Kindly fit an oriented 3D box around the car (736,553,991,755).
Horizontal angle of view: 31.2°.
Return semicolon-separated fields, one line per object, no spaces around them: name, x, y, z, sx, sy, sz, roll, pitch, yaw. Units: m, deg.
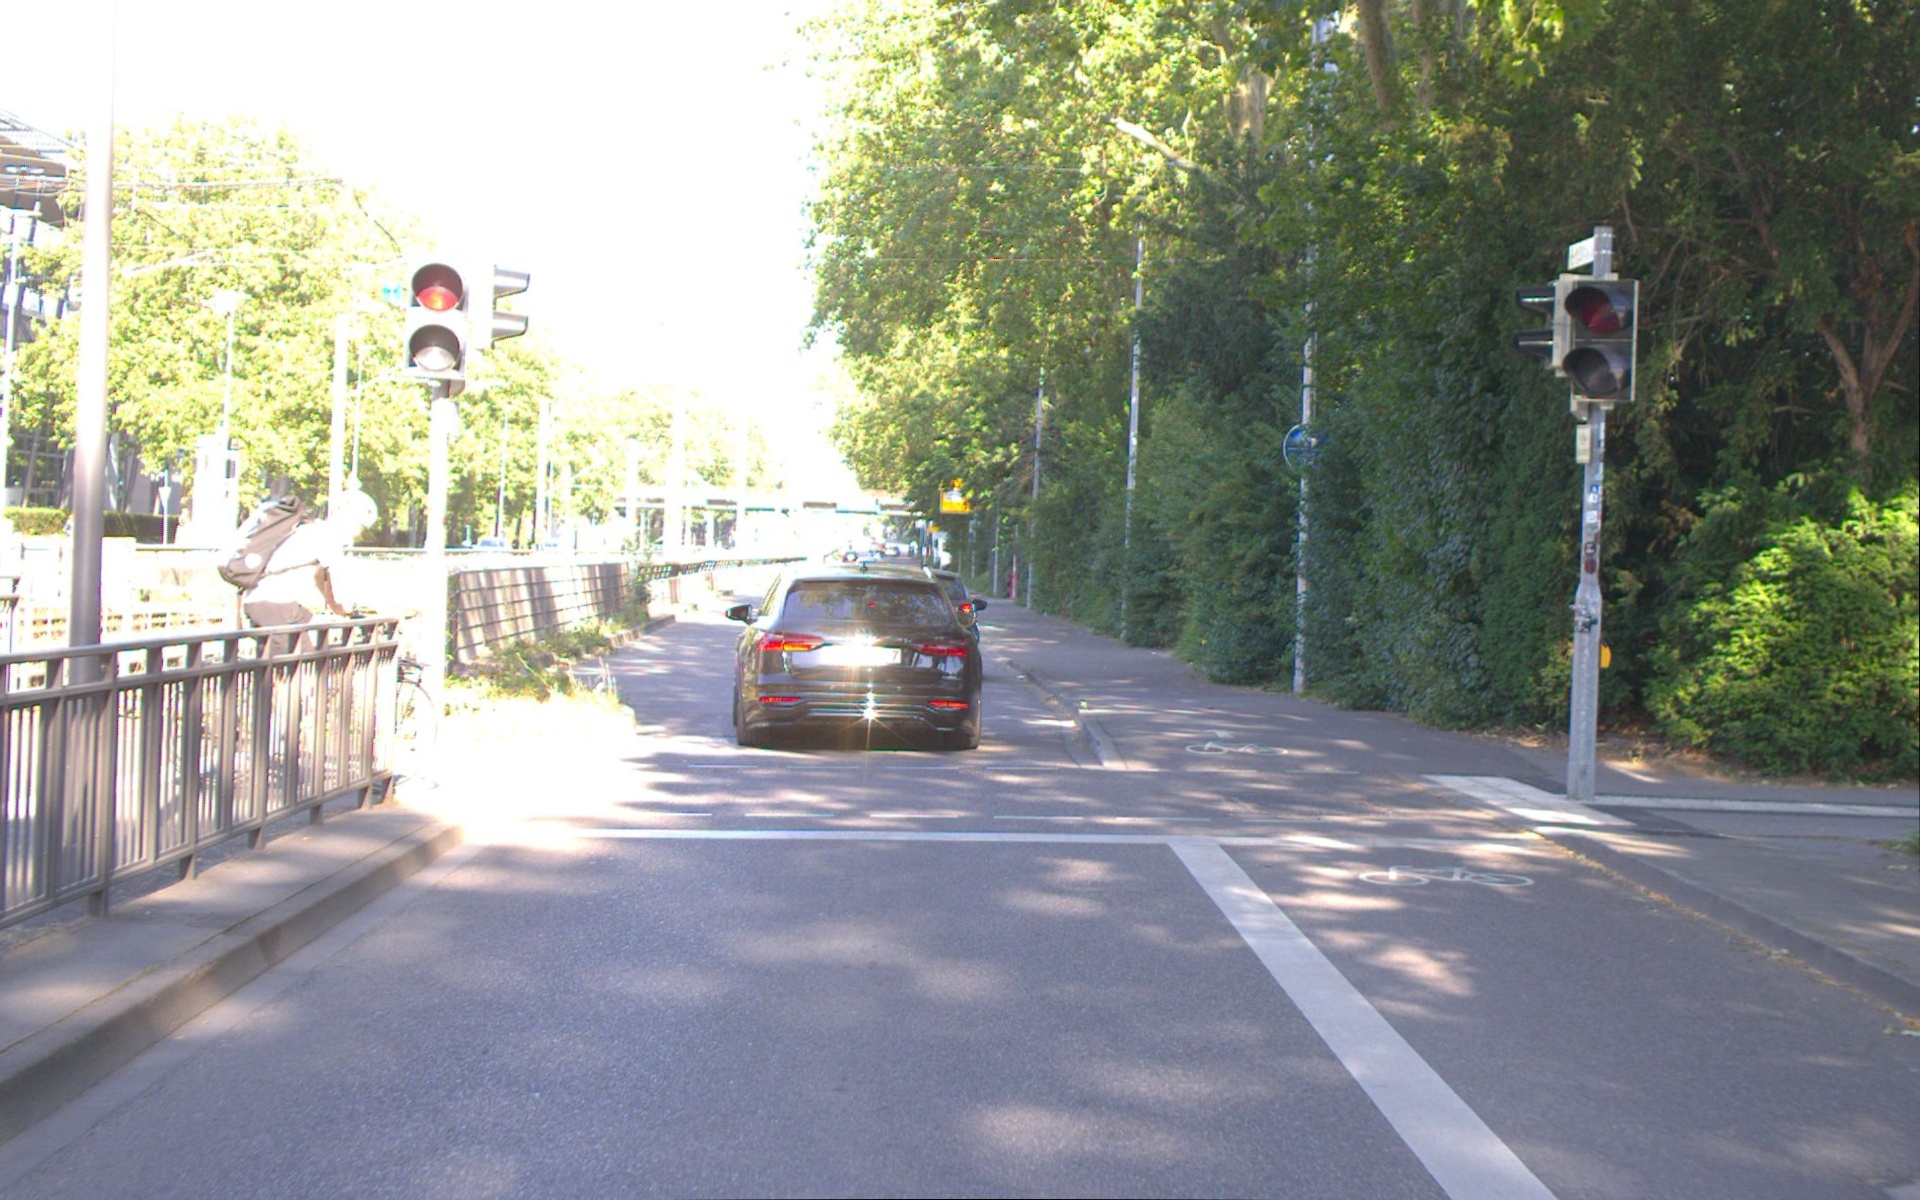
car;-0.817;0.378;27.182;1.878;1.452;3.357;0;1;-3

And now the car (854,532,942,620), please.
car;-1.495;-0.613;83.198;1.993;2.007;4.000;2;1;-1

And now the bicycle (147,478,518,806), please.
bicycle;-3.431;0.231;18.946;0.591;1.711;1.968;3;1;45

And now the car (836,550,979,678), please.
car;-0.769;0.158;47.919;1.762;1.613;4.001;2;1;-3

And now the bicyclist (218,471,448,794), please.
bicyclist;-3.450;0.171;18.925;0.770;1.711;0.907;3;1;44
